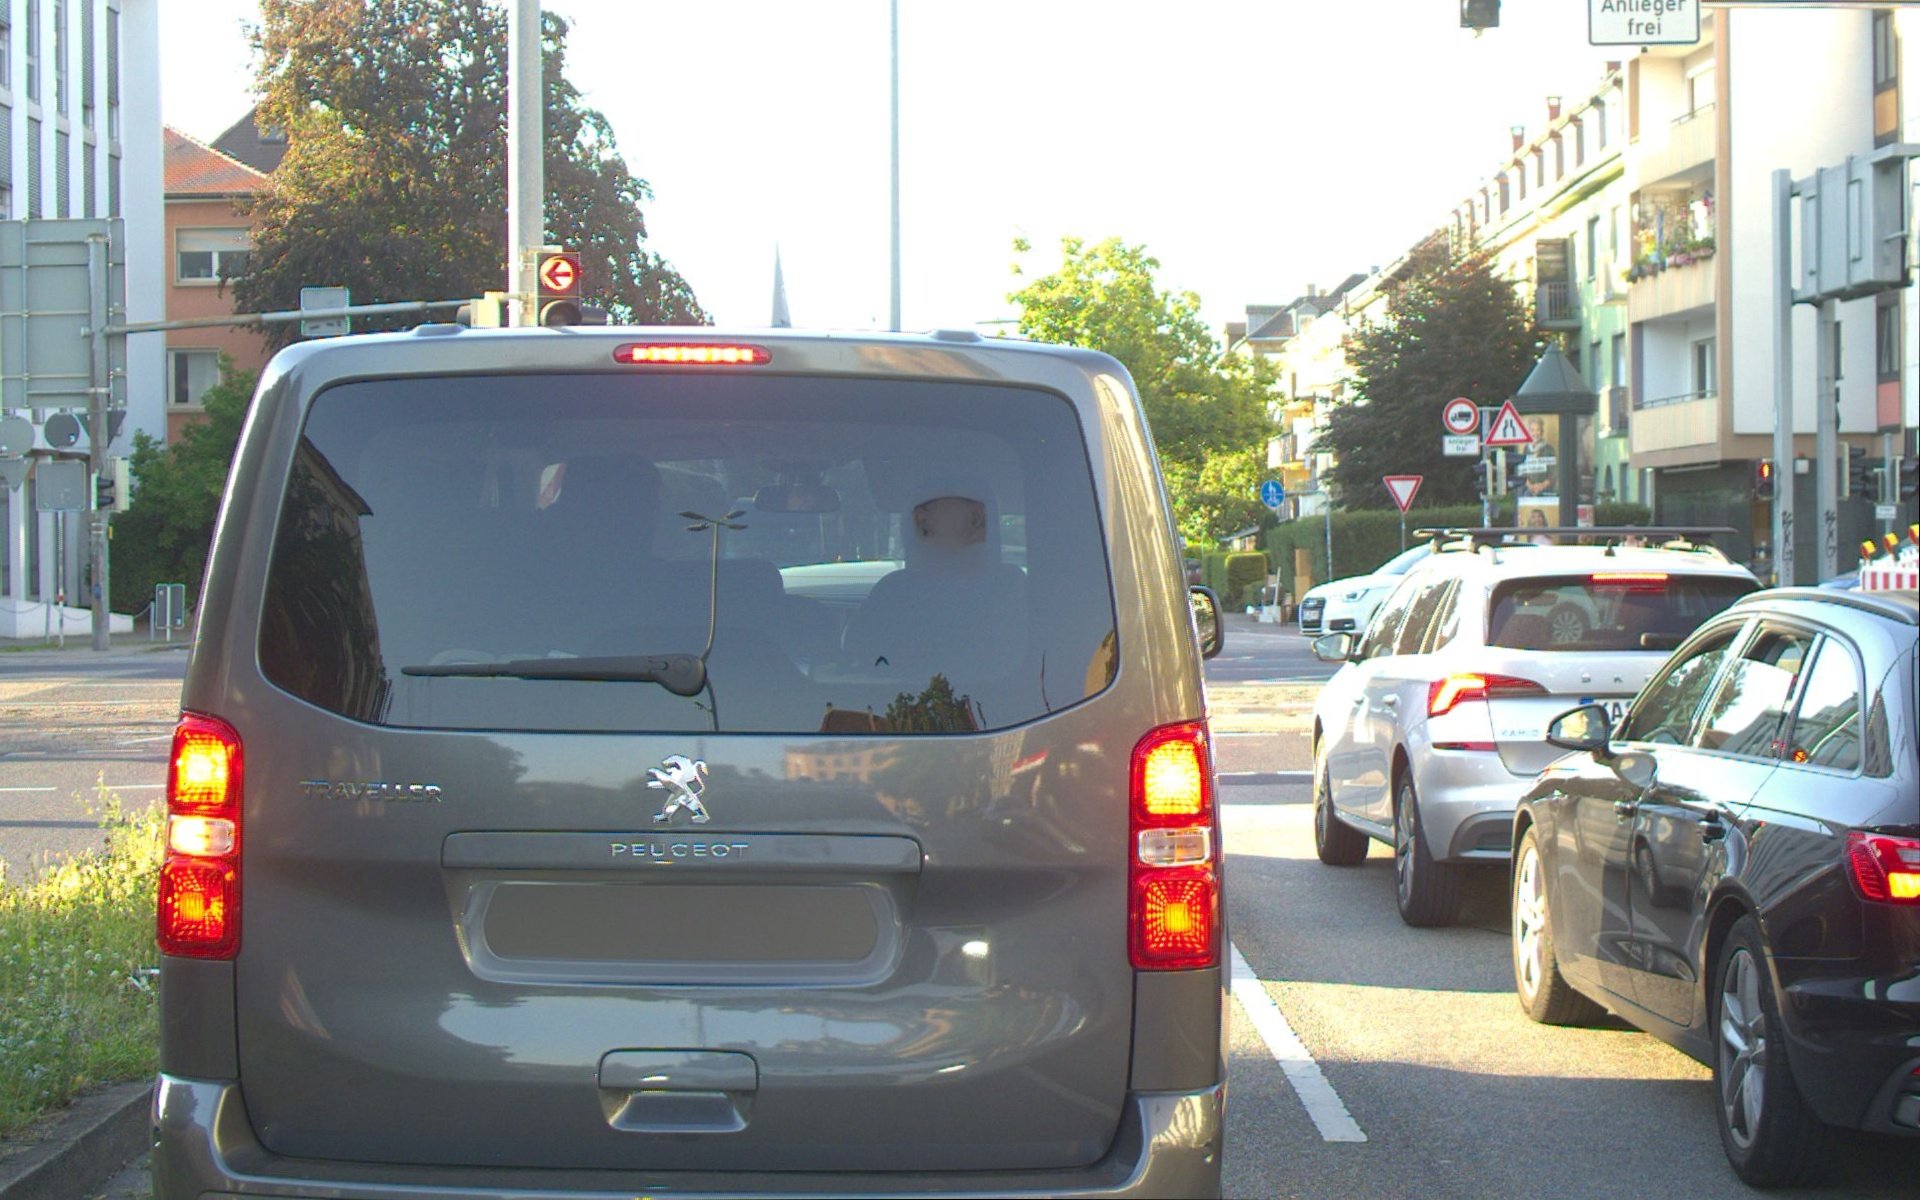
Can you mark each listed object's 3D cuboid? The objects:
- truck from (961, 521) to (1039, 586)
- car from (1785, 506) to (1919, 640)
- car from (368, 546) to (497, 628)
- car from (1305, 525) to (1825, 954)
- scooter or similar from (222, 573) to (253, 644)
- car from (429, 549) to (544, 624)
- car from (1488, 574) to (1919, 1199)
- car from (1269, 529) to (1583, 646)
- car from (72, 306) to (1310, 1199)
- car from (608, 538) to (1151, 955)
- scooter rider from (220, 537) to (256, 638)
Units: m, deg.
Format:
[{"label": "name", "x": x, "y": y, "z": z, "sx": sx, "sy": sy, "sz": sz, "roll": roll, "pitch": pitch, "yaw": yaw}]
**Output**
[{"label": "truck", "x": 1.352, "y": -1.546, "z": 113.333, "sx": 2.128, "sy": 2.079, "sz": 4.630, "roll": 0, "pitch": 1, "yaw": 6}, {"label": "car", "x": 13.934, "y": -0.404, "z": 48.054, "sx": 4.214, "sy": 1.811, "sz": 2.001, "roll": -1, "pitch": 1, "yaw": -14}, {"label": "car", "x": -9.555, "y": -0.268, "z": 62.499, "sx": 1.856, "sy": 1.415, "sz": 4.001, "roll": -1, "pitch": 1, "yaw": -2}, {"label": "car", "x": 2.493, "y": 0.499, "z": 14.962, "sx": 1.528, "sy": 1.608, "sz": 3.745, "roll": 1, "pitch": 1, "yaw": -1}, {"label": "scooter or similar", "x": -12.261, "y": 0.134, "z": 58.334, "sx": 0.285, "sy": 1.184, "sz": 1.169, "roll": 0, "pitch": 1, "yaw": -1}, {"label": "car", "x": -9.343, "y": -0.290, "z": 68.046, "sx": 1.856, "sy": 1.415, "sz": 4.001, "roll": -1, "pitch": 1, "yaw": -2}, {"label": "car", "x": 2.621, "y": 0.675, "z": 9.235, "sx": 1.681, "sy": 1.416, "sz": 4.214, "roll": 1, "pitch": 1, "yaw": -1}, {"label": "car", "x": 6.076, "y": -0.177, "z": 44.882, "sx": 3.673, "sy": 1.383, "sz": 1.697, "roll": -2, "pitch": 1, "yaw": -21}, {"label": "car", "x": -0.451, "y": 0.448, "z": 7.624, "sx": 1.907, "sy": 1.857, "sz": 4.527, "roll": 1, "pitch": 1, "yaw": -1}, {"label": "car", "x": -0.321, "y": 0.504, "z": 14.695, "sx": 1.993, "sy": 1.525, "sz": 4.000, "roll": 0, "pitch": 1, "yaw": -1}, {"label": "scooter rider", "x": -12.256, "y": -0.220, "z": 58.365, "sx": 0.481, "sy": 1.691, "sz": 0.636, "roll": 0, "pitch": 1, "yaw": -1}]
